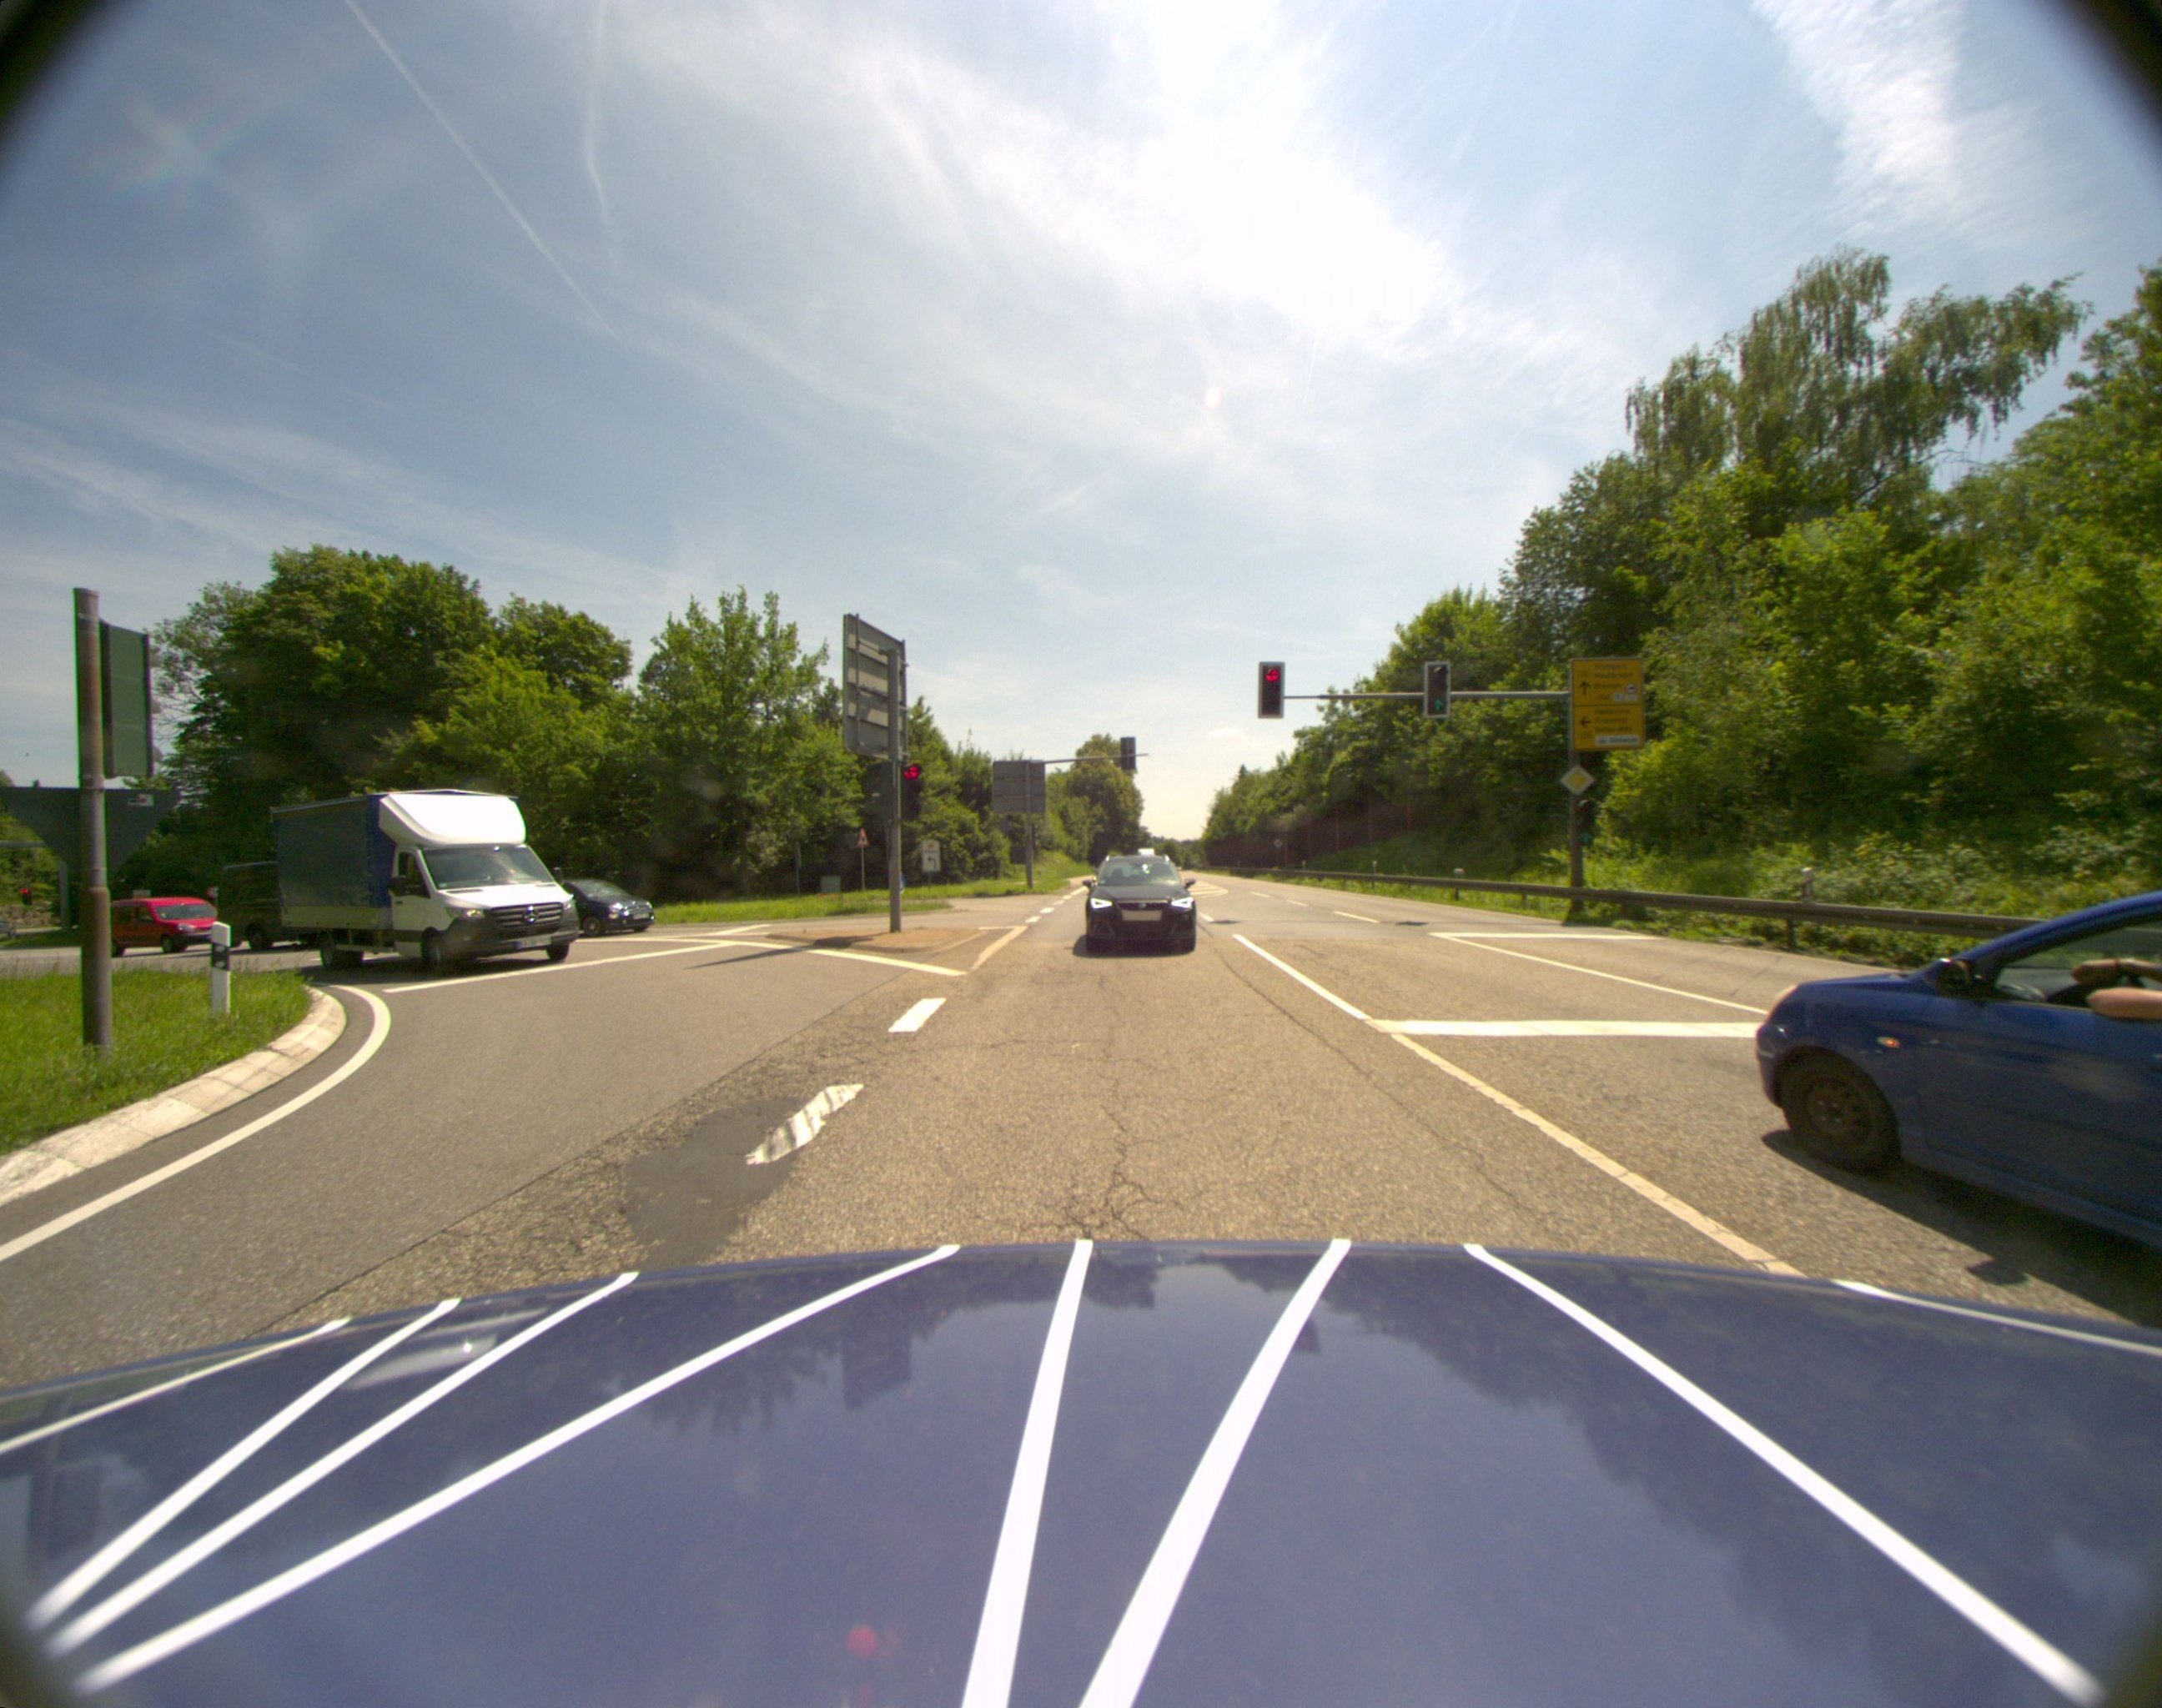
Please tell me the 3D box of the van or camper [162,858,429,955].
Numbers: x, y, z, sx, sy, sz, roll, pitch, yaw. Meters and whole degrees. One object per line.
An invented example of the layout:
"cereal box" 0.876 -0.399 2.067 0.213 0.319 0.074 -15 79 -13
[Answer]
"van or camper" -23.224 1.553 22.480 7.221 2.462 2.413 -3 0 17

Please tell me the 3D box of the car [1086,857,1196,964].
"car" 0.927 0.848 13.280 1.626 1.535 4.000 0 0 1

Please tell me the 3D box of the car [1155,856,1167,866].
"car" 13.838 1.180 132.118 1.998 1.756 4.001 -1 0 5

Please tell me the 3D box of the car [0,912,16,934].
"car" -86.187 5.504 60.089 3.989 1.652 2.004 -3 0 39

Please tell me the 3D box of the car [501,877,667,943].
"car" -12.814 1.434 19.651 3.353 1.457 1.691 -3 0 14

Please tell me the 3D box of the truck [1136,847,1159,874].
"truck" 9.671 0.946 111.311 2.839 3.794 8.453 -2 0 3

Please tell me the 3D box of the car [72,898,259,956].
"car" -29.339 2.328 24.377 5.112 1.598 1.852 -2 1 16

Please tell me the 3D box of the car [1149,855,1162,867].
"car" 11.697 1.102 120.007 1.998 1.756 4.001 -1 0 5

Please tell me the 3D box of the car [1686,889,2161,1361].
"car" 4.270 0.918 2.515 1.570 1.431 3.770 0 0 1

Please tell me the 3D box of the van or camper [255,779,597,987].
"van or camper" -12.401 0.534 14.215 7.235 3.193 2.108 -2 1 27
